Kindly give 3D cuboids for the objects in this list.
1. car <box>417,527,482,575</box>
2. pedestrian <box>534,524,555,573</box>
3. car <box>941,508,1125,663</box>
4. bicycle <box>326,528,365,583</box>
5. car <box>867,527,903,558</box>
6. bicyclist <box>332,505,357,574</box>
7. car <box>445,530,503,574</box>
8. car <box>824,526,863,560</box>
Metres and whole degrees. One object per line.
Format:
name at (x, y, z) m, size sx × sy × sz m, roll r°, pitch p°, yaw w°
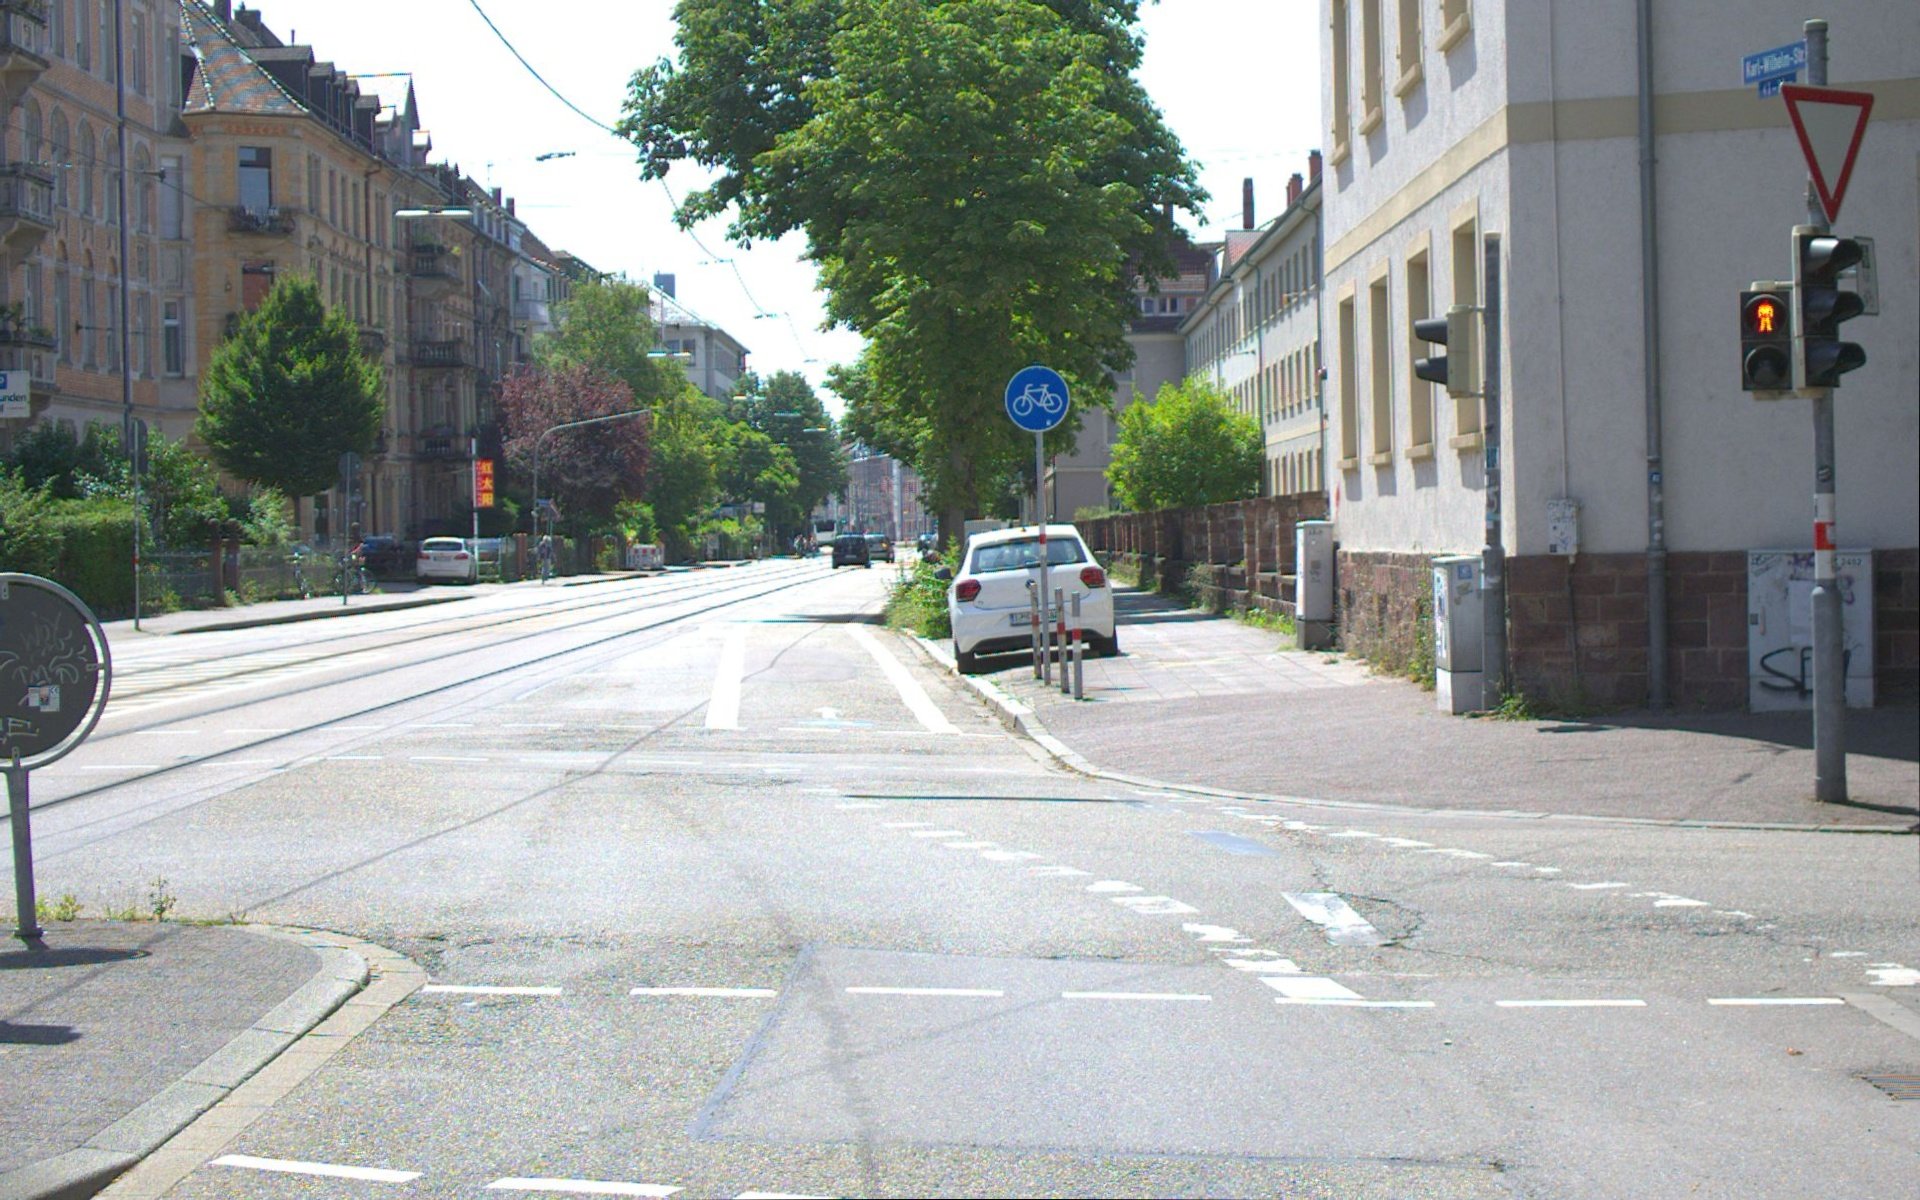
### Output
car at (-17.157, -1.658, 115.710) m, size 1.684 × 1.467 × 3.939 m, roll -4°, pitch 1°, yaw -3°
pedestrian at (-14.840, -1.833, 122.753) m, size 0.678 × 1.721 × 0.677 m, roll 0°, pitch 1°, yaw -1°
car at (0.740, -0.173, 37.185) m, size 1.747 × 1.467 × 3.938 m, roll -4°, pitch 1°, yaw -1°
bicycle at (-15.715, -1.134, 87.994) m, size 0.577 × 1.383 × 2.501 m, roll 0°, pitch 1°, yaw -1°
car at (-3.901, -3.012, 179.924) m, size 1.747 × 1.467 × 3.938 m, roll -4°, pitch 1°, yaw -1°
bicyclist at (-15.724, -1.535, 87.881) m, size 0.542 × 1.757 × 0.498 m, roll 0°, pitch 1°, yaw -1°
car at (-17.504, -1.727, 123.911) m, size 1.628 × 1.467 × 3.564 m, roll -4°, pitch 1°, yaw -3°
car at (-5.122, -2.497, 150.907) m, size 1.525 × 1.439 × 3.365 m, roll -2°, pitch 1°, yaw 0°
